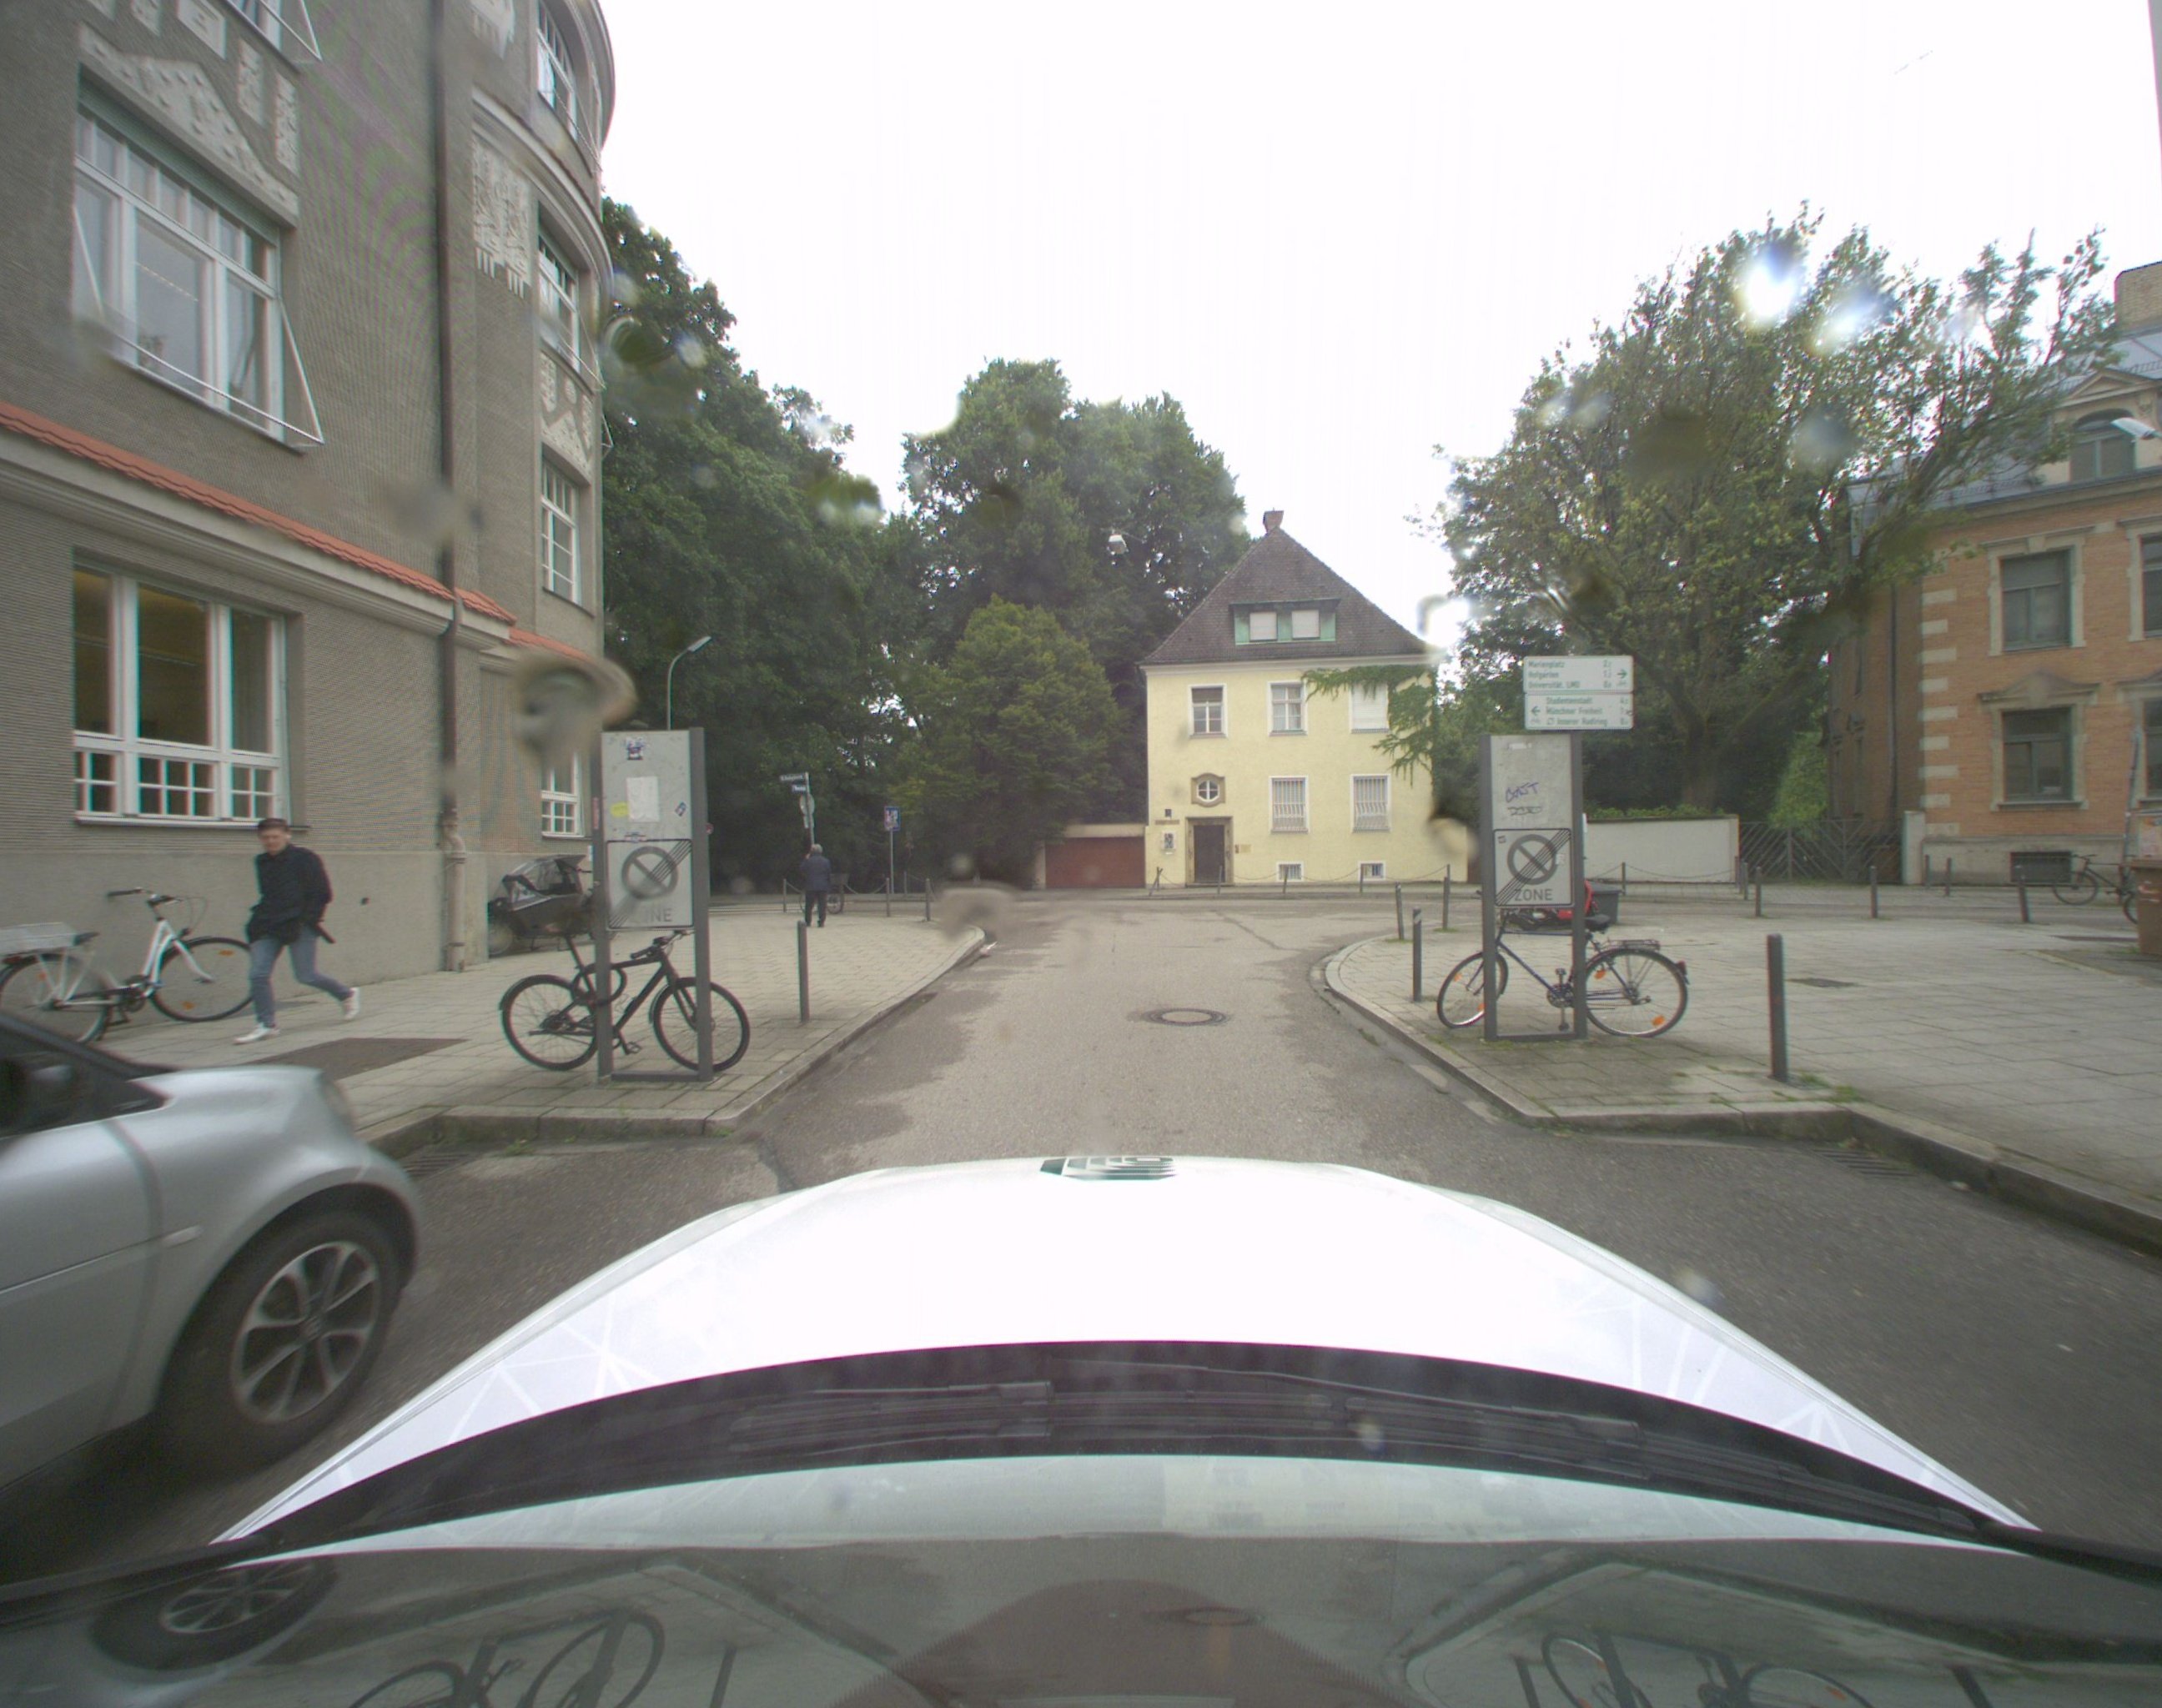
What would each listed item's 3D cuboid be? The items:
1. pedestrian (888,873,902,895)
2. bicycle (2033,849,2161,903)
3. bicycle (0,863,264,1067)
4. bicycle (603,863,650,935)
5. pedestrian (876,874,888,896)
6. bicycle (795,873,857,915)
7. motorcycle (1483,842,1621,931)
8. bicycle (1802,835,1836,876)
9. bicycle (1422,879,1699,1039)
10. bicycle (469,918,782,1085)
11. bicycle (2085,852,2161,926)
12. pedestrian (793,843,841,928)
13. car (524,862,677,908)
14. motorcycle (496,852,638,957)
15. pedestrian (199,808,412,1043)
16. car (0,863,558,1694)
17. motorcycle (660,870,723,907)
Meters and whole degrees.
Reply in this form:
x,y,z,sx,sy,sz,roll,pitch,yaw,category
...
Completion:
x,y,z,sx,sy,sz,roll,pitch,yaw,category
-10.024,1.642,43.979,0.582,1.168,0.498,0,0,7,pedestrian
20.754,0.423,16.550,1.740,1.054,0.585,0,0,40,bicycle
-7.456,0.758,6.298,0.617,1.349,1.674,0,0,-2,bicycle
-8.692,0.818,15.610,0.740,1.256,1.908,0,0,-28,bicycle
-10.745,1.681,44.010,0.468,1.156,0.498,0,0,7,pedestrian
-6.568,1.000,20.924,1.982,1.010,0.515,0,0,39,bicycle
7.593,0.490,13.132,2.085,1.356,0.811,0,0,-21,motorcycle
23.146,0.038,25.564,0.529,1.219,2.096,-1,0,36,bicycle
3.708,0.773,6.441,1.774,1.085,0.670,-2,1,29,bicycle
-3.020,0.964,5.496,1.796,1.015,0.540,0,0,0,bicycle
15.894,0.500,11.812,0.768,1.066,1.769,0,0,14,bicycle
-5.257,0.602,16.183,0.814,1.641,0.720,0,0,-25,pedestrian
-17.140,1.081,29.220,4.411,1.448,1.623,-2,0,-3,car
-7.618,0.690,12.214,0.733,1.441,2.147,0,0,1,motorcycle
-6.309,0.547,6.685,0.835,1.787,0.937,0,0,5,pedestrian
-2.876,0.833,1.566,1.697,1.515,2.913,-2,0,3,car
-13.438,1.168,28.109,1.981,1.183,0.865,0,3,26,motorcycle
